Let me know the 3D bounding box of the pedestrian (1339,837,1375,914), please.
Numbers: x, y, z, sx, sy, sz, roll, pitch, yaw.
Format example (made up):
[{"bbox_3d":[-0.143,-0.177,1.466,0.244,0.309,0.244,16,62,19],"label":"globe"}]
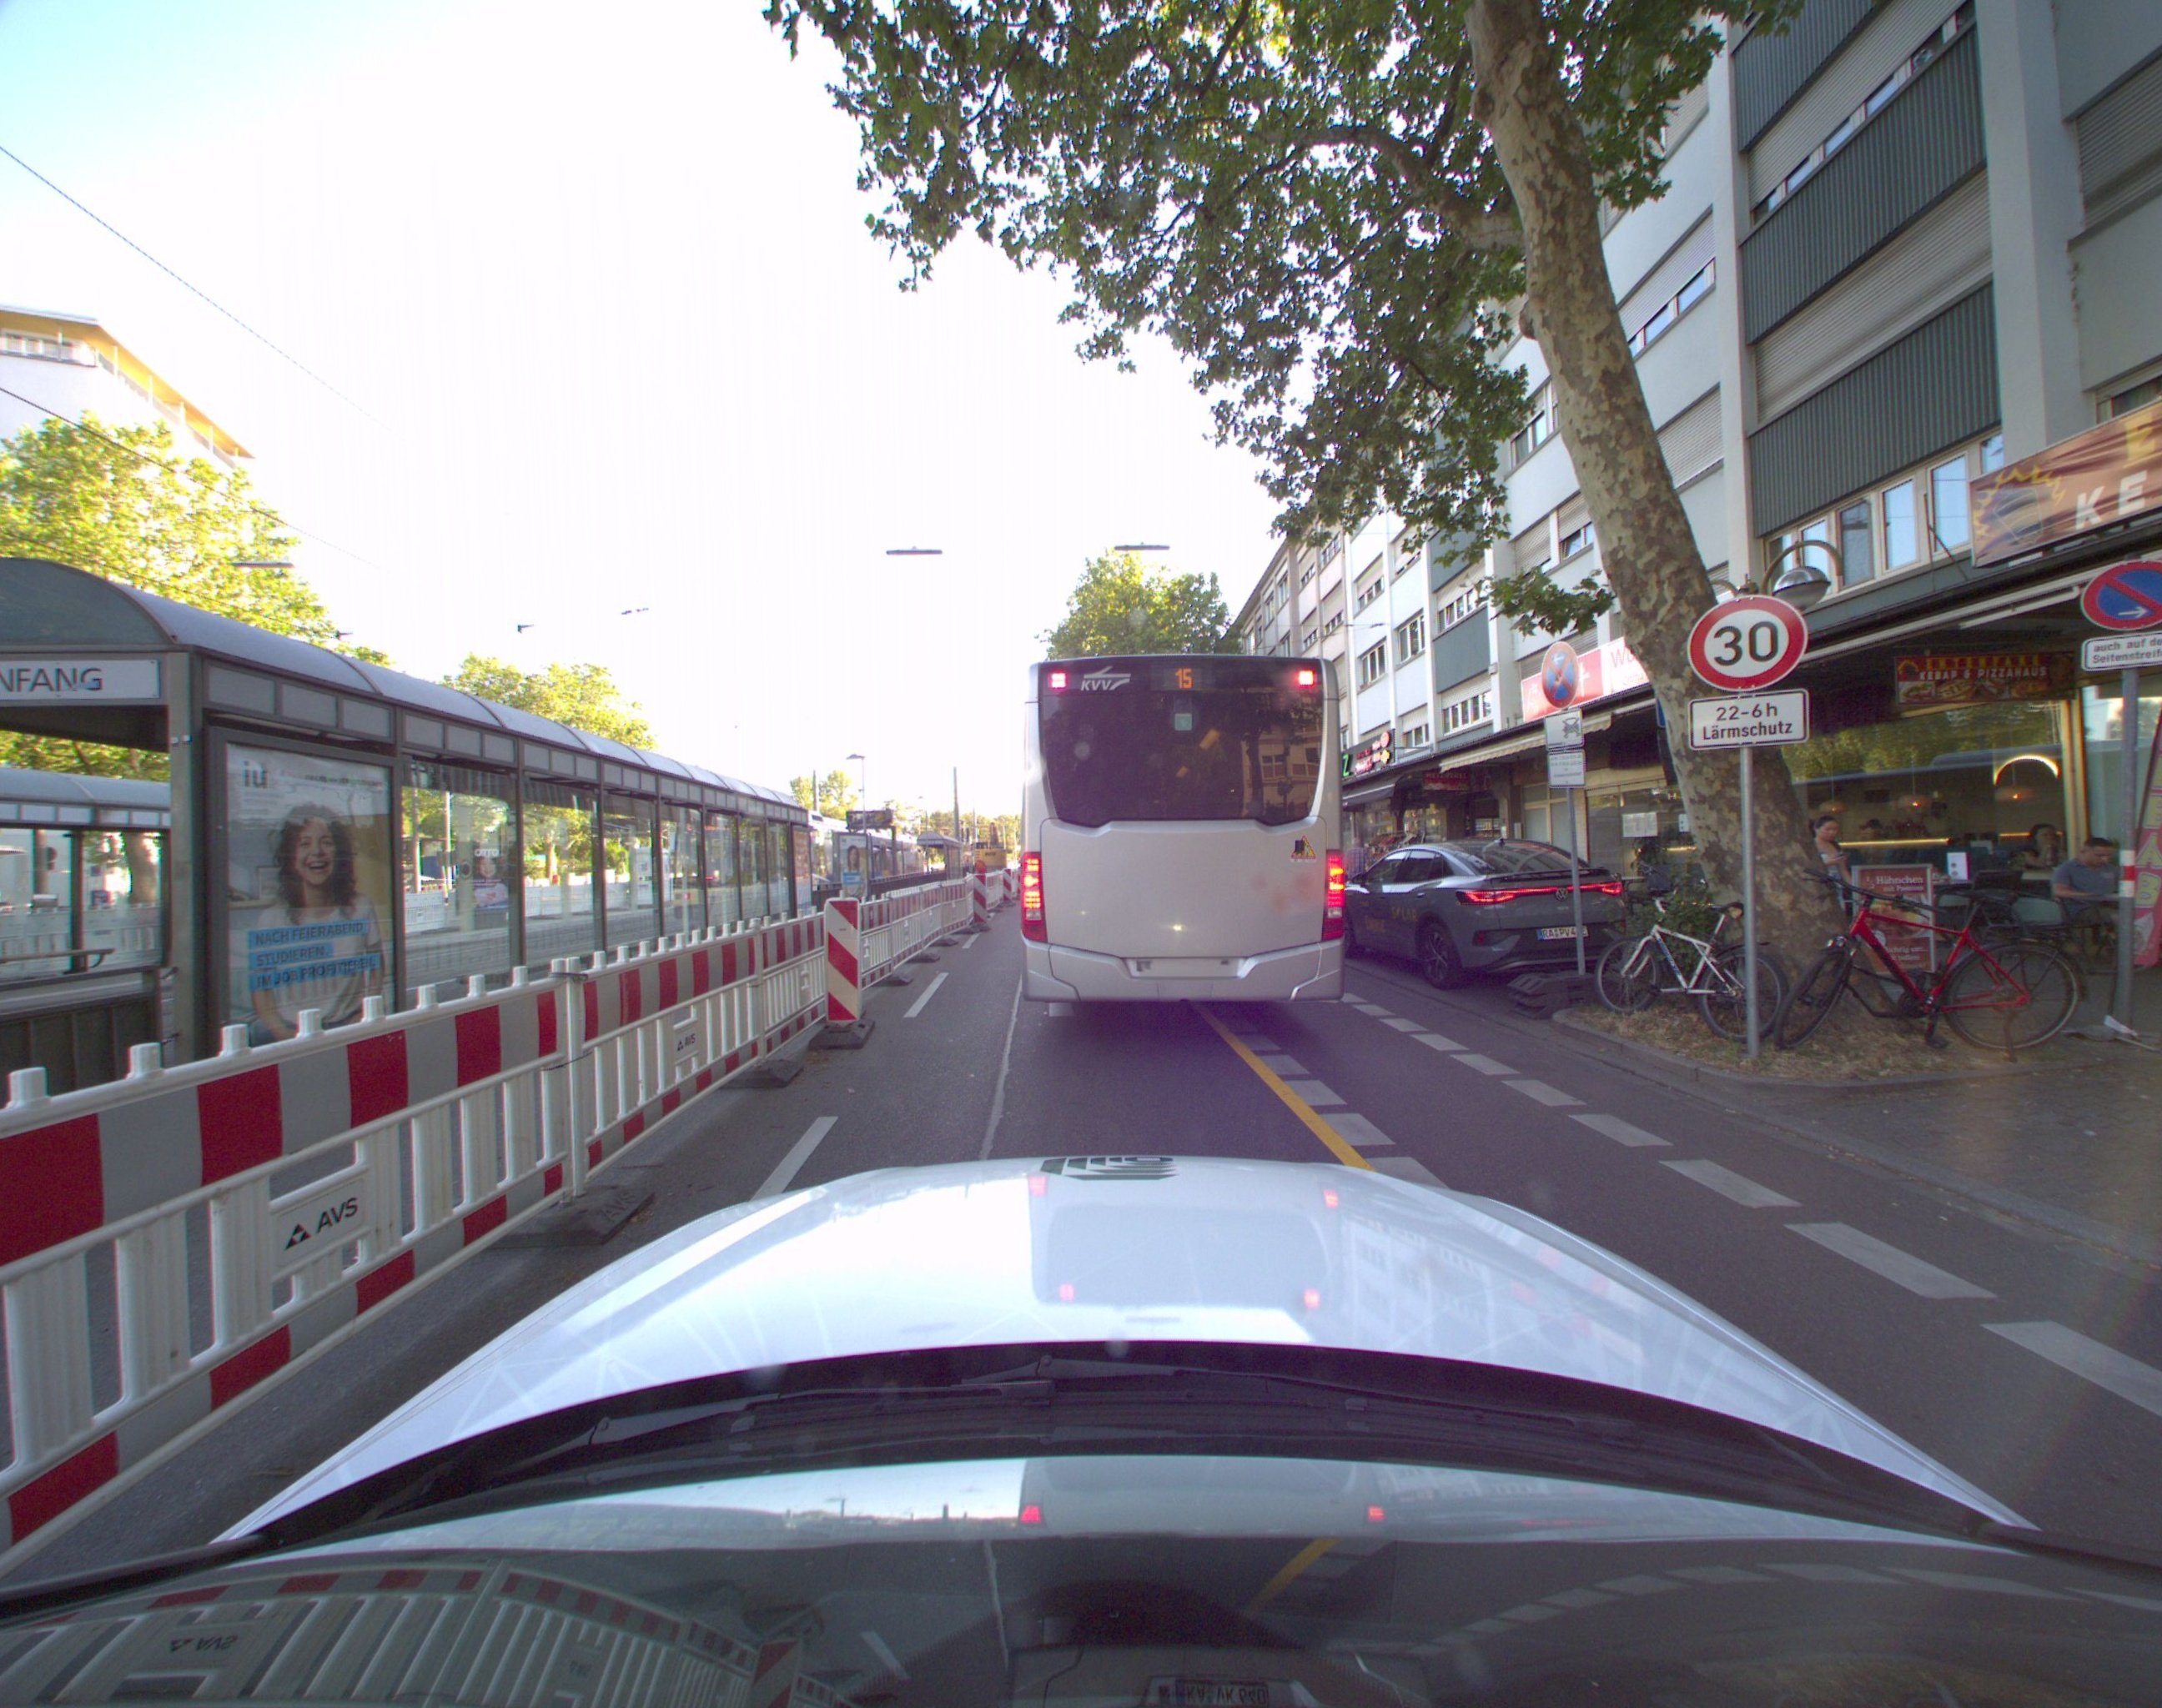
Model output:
[{"bbox_3d":[6.193,0.483,18.291,0.658,1.666,0.603,-4,-1,18],"label":"pedestrian"}]

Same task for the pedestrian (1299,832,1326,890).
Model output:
[{"bbox_3d":[8.167,0.249,28.782,0.683,2.014,0.786,-2,-1,1],"label":"pedestrian"}]

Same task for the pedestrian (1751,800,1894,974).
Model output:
[{"bbox_3d":[7.565,0.325,8.346,0.580,1.646,0.796,-6,0,0],"label":"pedestrian"}]

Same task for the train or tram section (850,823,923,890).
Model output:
[{"bbox_3d":[-11.483,0.176,49.175,2.683,3.533,11.558,0,-1,-6],"label":"train or tram section"}]

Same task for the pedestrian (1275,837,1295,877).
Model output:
[{"bbox_3d":[9.575,0.133,38.229,0.684,1.836,0.785,-2,-1,-1],"label":"pedestrian"}]

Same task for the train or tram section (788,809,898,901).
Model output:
[{"bbox_3d":[-10.599,0.074,37.620,2.682,3.558,11.559,0,-1,-5],"label":"train or tram section"}]

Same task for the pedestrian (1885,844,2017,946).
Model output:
[{"bbox_3d":[9.852,0.445,9.236,0.643,1.081,0.945,-2,-1,-39],"label":"pedestrian"}]

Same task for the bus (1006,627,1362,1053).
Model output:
[{"bbox_3d":[0.879,-0.082,9.991,2.601,3.126,7.996,0,0,2],"label":"bus"}]

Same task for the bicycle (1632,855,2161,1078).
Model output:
[{"bbox_3d":[5.054,0.720,5.221,2.370,1.155,0.557,-7,-2,14],"label":"bicycle"}]

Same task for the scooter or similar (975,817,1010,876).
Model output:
[{"bbox_3d":[-7.019,-0.543,65.116,2.465,4.471,5.961,-2,0,-5],"label":"scooter or similar"}]

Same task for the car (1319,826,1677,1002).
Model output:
[{"bbox_3d":[4.736,0.575,10.156,1.989,1.582,4.364,-4,0,-3],"label":"car"}]

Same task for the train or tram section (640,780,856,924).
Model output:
[{"bbox_3d":[-9.830,-0.014,25.948,2.681,3.534,11.756,0,-1,-3],"label":"train or tram section"}]

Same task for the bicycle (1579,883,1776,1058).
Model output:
[{"bbox_3d":[4.569,0.833,6.362,0.550,1.155,1.446,-2,-1,6],"label":"bicycle"}]

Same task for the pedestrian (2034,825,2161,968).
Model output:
[{"bbox_3d":[9.575,0.377,7.573,0.555,1.245,0.692,-4,0,8],"label":"pedestrian"}]

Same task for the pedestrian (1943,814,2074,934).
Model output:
[{"bbox_3d":[11.004,0.227,9.671,0.836,1.333,0.963,-2,-1,-39],"label":"pedestrian"}]
